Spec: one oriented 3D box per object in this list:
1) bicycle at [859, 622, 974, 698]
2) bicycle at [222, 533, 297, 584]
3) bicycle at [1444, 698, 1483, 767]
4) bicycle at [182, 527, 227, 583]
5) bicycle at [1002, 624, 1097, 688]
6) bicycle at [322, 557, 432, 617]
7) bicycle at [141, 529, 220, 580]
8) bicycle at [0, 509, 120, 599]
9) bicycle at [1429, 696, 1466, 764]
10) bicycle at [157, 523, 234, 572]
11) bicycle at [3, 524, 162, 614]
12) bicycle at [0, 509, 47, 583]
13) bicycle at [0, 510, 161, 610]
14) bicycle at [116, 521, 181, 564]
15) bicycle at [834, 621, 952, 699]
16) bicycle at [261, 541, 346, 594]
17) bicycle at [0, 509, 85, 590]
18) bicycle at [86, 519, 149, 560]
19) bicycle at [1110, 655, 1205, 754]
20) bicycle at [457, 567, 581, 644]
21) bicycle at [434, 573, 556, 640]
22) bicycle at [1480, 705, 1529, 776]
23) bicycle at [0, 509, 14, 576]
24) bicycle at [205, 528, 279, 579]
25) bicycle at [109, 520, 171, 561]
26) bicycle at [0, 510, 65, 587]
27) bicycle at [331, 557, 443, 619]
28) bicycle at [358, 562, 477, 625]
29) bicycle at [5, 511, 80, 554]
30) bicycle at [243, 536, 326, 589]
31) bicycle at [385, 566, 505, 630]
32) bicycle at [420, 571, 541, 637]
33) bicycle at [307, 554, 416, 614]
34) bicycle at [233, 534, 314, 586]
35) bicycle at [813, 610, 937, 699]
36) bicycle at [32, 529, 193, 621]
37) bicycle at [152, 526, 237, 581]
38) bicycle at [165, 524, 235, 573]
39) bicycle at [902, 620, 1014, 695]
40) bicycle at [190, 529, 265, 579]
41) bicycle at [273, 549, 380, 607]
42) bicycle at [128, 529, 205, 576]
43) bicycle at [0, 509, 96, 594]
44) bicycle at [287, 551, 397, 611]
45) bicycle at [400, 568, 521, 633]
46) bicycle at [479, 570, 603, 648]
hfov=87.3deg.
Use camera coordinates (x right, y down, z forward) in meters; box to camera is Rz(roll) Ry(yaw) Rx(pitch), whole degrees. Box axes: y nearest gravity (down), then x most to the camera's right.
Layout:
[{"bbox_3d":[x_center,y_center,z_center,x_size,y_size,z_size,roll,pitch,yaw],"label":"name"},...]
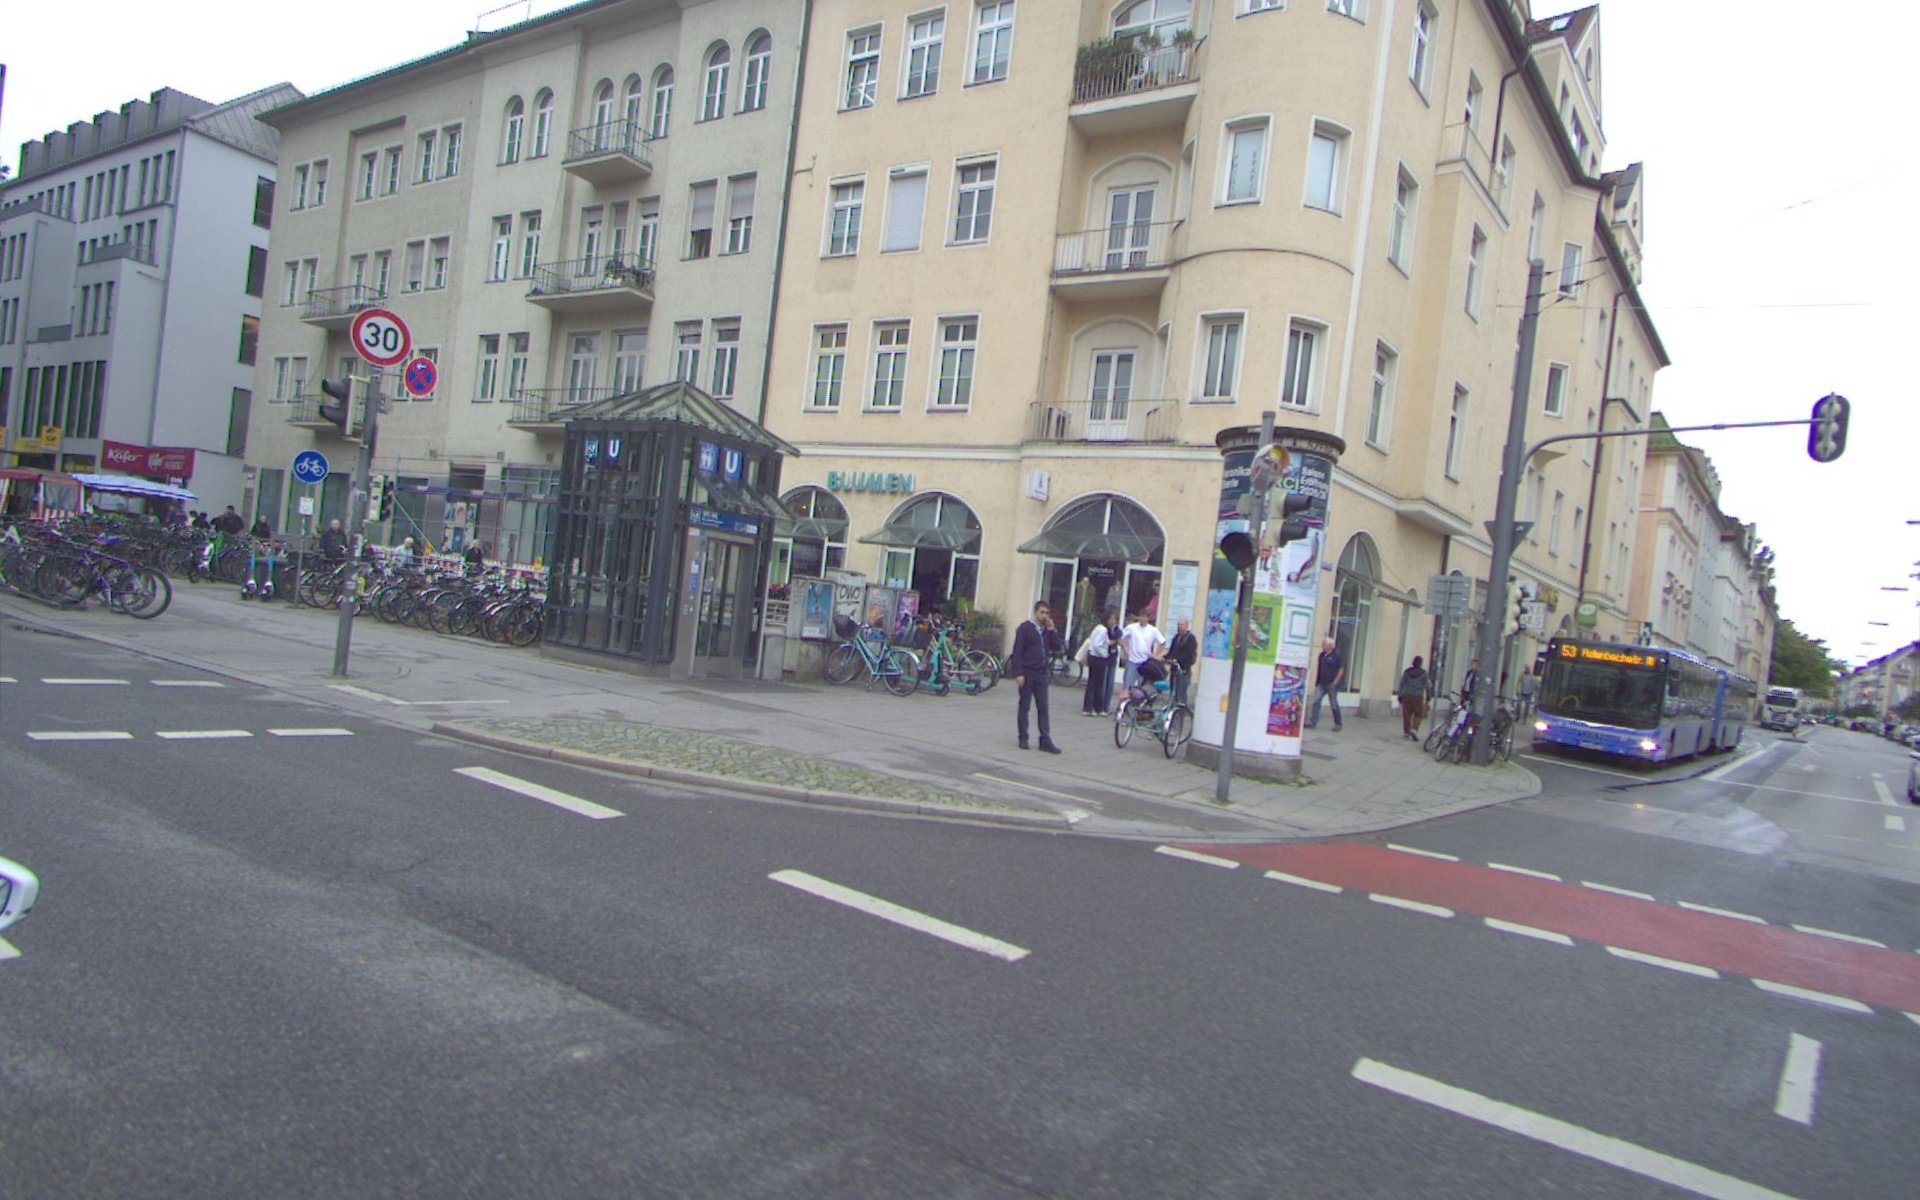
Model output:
[{"bbox_3d":[-0.726,0.967,16.489,1.835,0.987,0.495,7,1,32],"label":"bicycle"},{"bbox_3d":[-17.032,-0.998,24.488,0.363,1.088,1.430,7,0,25],"label":"bicycle"},{"bbox_3d":[8.735,2.272,17.474,0.244,1.046,1.584,7,0,18],"label":"bicycle"},{"bbox_3d":[-16.609,-0.992,22.132,0.364,1.156,1.712,6,0,-26],"label":"bicycle"},{"bbox_3d":[1.870,1.178,21.210,1.833,1.103,0.495,7,1,26],"label":"bicycle"},{"bbox_3d":[-11.064,-0.231,19.151,0.445,0.976,1.757,7,0,30],"label":"bicycle"},{"bbox_3d":[-17.848,-1.027,23.057,0.363,1.012,1.315,7,0,33],"label":"bicycle"},{"bbox_3d":[-14.083,-0.718,15.343,1.780,1.172,0.545,7,0,-21],"label":"bicycle"},{"bbox_3d":[8.482,2.238,17.536,0.244,1.046,1.584,7,0,18],"label":"bicycle"},{"bbox_3d":[-19.746,-1.345,26.014,0.363,1.088,1.504,7,0,25],"label":"bicycle"},{"bbox_3d":[-12.405,-0.427,14.255,1.575,1.041,0.498,7,1,-11],"label":"bicycle"},{"bbox_3d":[-16.471,-0.980,16.710,1.784,1.172,0.483,7,0,-29],"label":"bicycle"},{"bbox_3d":[-12.899,-0.575,14.667,1.777,1.213,0.557,7,1,-15],"label":"bicycle"},{"bbox_3d":[-21.896,-1.538,27.158,0.363,0.993,1.246,7,0,29],"label":"bicycle"},{"bbox_3d":[-1.077,0.932,15.908,1.835,0.987,0.495,7,1,32],"label":"bicycle"},{"bbox_3d":[-15.525,-0.753,23.818,0.444,1.088,1.551,7,0,33],"label":"bicycle"},{"bbox_3d":[-15.313,-0.860,16.133,1.787,1.172,0.483,7,0,-33],"label":"bicycle"},{"bbox_3d":[-23.761,-1.708,28.385,0.363,0.993,1.245,7,0,30],"label":"bicycle"},{"bbox_3d":[2.640,1.363,13.335,0.516,1.175,1.568,9,2,34],"label":"bicycle"},{"bbox_3d":[-7.237,0.116,16.603,0.500,1.108,1.840,7,0,30],"label":"bicycle"},{"bbox_3d":[-7.760,0.134,16.872,0.500,0.976,1.840,7,0,30],"label":"bicycle"},{"bbox_3d":[9.450,2.413,17.503,0.350,1.046,1.584,7,0,18],"label":"bicycle"},{"bbox_3d":[-17.669,-1.113,17.335,1.781,1.172,0.648,7,0,-23],"label":"bicycle"},{"bbox_3d":[-17.713,-1.126,24.844,0.363,1.088,1.430,7,0,25],"label":"bicycle"},{"bbox_3d":[-22.714,-1.637,27.874,0.362,0.993,1.247,7,0,23],"label":"bicycle"},{"bbox_3d":[-15.898,-0.909,16.419,1.785,1.172,0.483,7,0,-30],"label":"bicycle"},{"bbox_3d":[-10.683,-0.207,18.824,0.445,0.976,1.757,7,0,30],"label":"bicycle"},{"bbox_3d":[-9.798,-0.098,18.251,0.500,0.976,1.840,7,0,30],"label":"bicycle"},{"bbox_3d":[-25.178,-1.845,27.619,0.364,0.975,1.431,7,0,37],"label":"bicycle"},{"bbox_3d":[-16.108,-0.885,24.033,0.443,1.088,1.553,7,0,27],"label":"bicycle"},{"bbox_3d":[-9.099,-0.016,17.845,0.500,0.976,1.840,7,0,30],"label":"bicycle"},{"bbox_3d":[-8.166,0.090,17.207,0.500,0.976,1.840,7,0,30],"label":"bicycle"},{"bbox_3d":[-11.587,-0.291,19.539,0.445,0.976,1.757,7,0,30],"label":"bicycle"},{"bbox_3d":[-16.554,-0.940,24.296,0.363,1.088,1.554,7,0,25],"label":"bicycle"},{"bbox_3d":[-1.326,0.830,15.520,1.835,1.121,0.567,7,1,32],"label":"bicycle"},{"bbox_3d":[-11.657,-0.334,13.875,1.575,1.041,0.498,7,1,-11],"label":"bicycle"},{"bbox_3d":[-17.377,-1.044,22.864,0.363,1.090,1.419,7,0,33],"label":"bicycle"},{"bbox_3d":[-19.261,-1.292,25.520,0.363,1.088,1.331,7,0,25],"label":"bicycle"},{"bbox_3d":[-0.043,0.990,17.588,1.834,1.072,0.495,7,1,27],"label":"bicycle"},{"bbox_3d":[-18.251,-1.135,25.089,0.363,1.088,1.430,7,0,25],"label":"bicycle"},{"bbox_3d":[-12.653,-0.424,20.143,0.363,0.976,1.756,7,0,32],"label":"bicycle"},{"bbox_3d":[-18.415,-1.087,23.361,0.363,0.926,1.294,7,0,33],"label":"bicycle"},{"bbox_3d":[-14.696,-0.794,15.622,1.780,1.172,0.545,7,0,-21],"label":"bicycle"},{"bbox_3d":[-12.098,-0.356,19.752,0.445,0.976,1.756,7,0,32],"label":"bicycle"},{"bbox_3d":[-8.672,0.032,17.544,0.500,0.976,1.840,7,0,30],"label":"bicycle"},{"bbox_3d":[-6.756,0.174,16.327,0.500,1.108,1.840,7,0,30],"label":"bicycle"}]
